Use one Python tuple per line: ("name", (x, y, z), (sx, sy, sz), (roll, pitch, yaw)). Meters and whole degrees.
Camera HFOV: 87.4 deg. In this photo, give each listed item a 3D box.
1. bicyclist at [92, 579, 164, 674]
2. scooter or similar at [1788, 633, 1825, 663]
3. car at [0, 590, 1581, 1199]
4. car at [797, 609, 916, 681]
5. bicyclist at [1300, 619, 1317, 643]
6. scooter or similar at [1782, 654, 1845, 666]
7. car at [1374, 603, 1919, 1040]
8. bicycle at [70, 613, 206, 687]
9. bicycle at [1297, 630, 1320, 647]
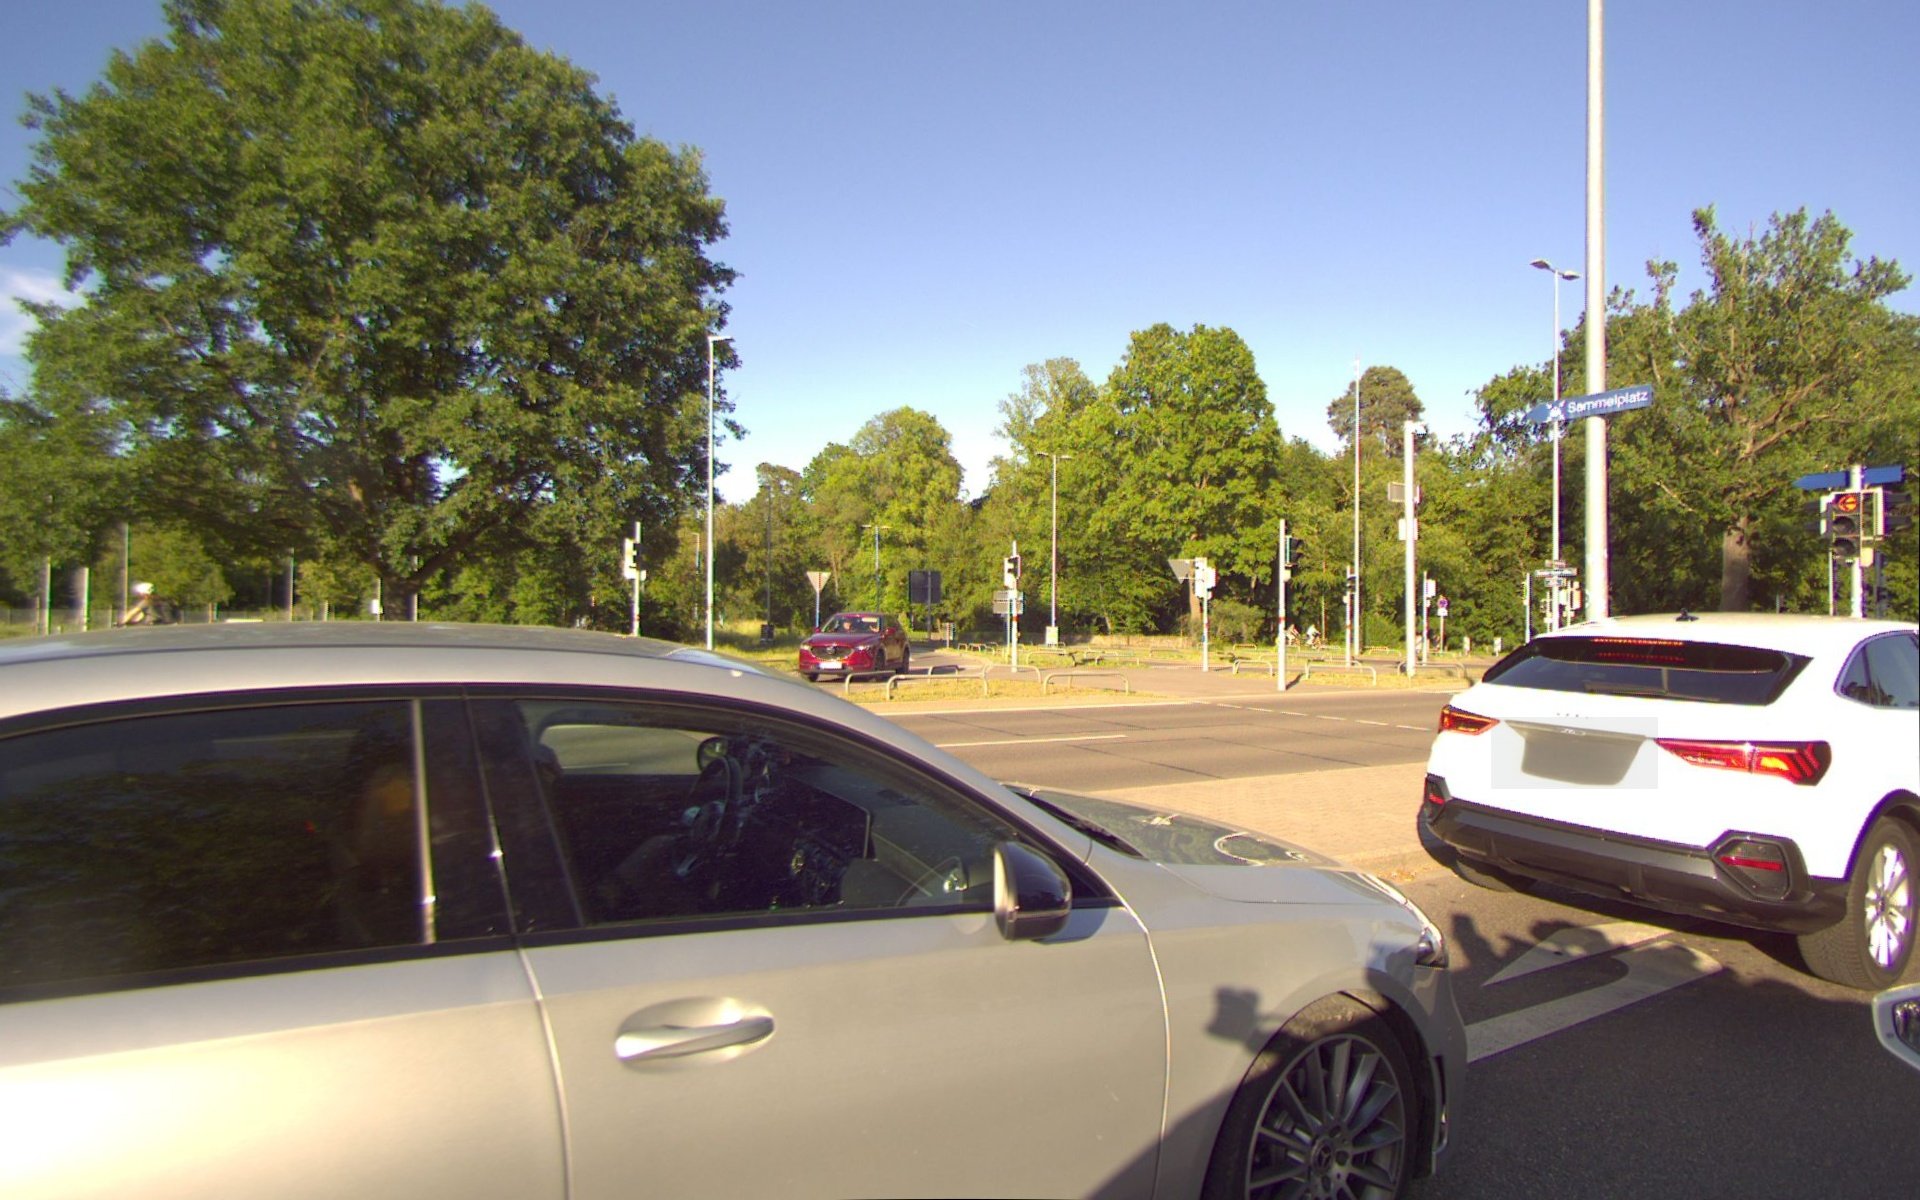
("bicyclist", (-14.694, 0.465, 17.758), (0.789, 1.632, 0.679), (1, 0, -23))
("scooter or similar", (33.177, 1.877, 39.366), (0.388, 1.162, 1.065), (0, -1, -21))
("car", (-0.700, 0.729, 2.137), (4.268, 1.446, 1.649), (1, -1, -31))
("car", (-2.387, 1.157, 24.367), (1.854, 1.573, 4.578), (-1, -4, 8))
("bicyclist", (22.237, 1.963, 64.067), (0.716, 1.502, 0.799), (1, 0, -8))
("scooter or similar", (32.252, 2.265, 37.987), (1.241, 0.344, 1.405), (0, -1, -22))
("car", (4.396, 0.825, 5.411), (4.250, 1.533, 1.825), (1, -1, -31))
("bicycle", (-14.562, 0.889, 17.849), (1.770, 1.254, 0.492), (2, 0, -24))
("bicycle", (22.217, 2.444, 64.089), (0.770, 0.990, 1.588), (2, 0, -8))
